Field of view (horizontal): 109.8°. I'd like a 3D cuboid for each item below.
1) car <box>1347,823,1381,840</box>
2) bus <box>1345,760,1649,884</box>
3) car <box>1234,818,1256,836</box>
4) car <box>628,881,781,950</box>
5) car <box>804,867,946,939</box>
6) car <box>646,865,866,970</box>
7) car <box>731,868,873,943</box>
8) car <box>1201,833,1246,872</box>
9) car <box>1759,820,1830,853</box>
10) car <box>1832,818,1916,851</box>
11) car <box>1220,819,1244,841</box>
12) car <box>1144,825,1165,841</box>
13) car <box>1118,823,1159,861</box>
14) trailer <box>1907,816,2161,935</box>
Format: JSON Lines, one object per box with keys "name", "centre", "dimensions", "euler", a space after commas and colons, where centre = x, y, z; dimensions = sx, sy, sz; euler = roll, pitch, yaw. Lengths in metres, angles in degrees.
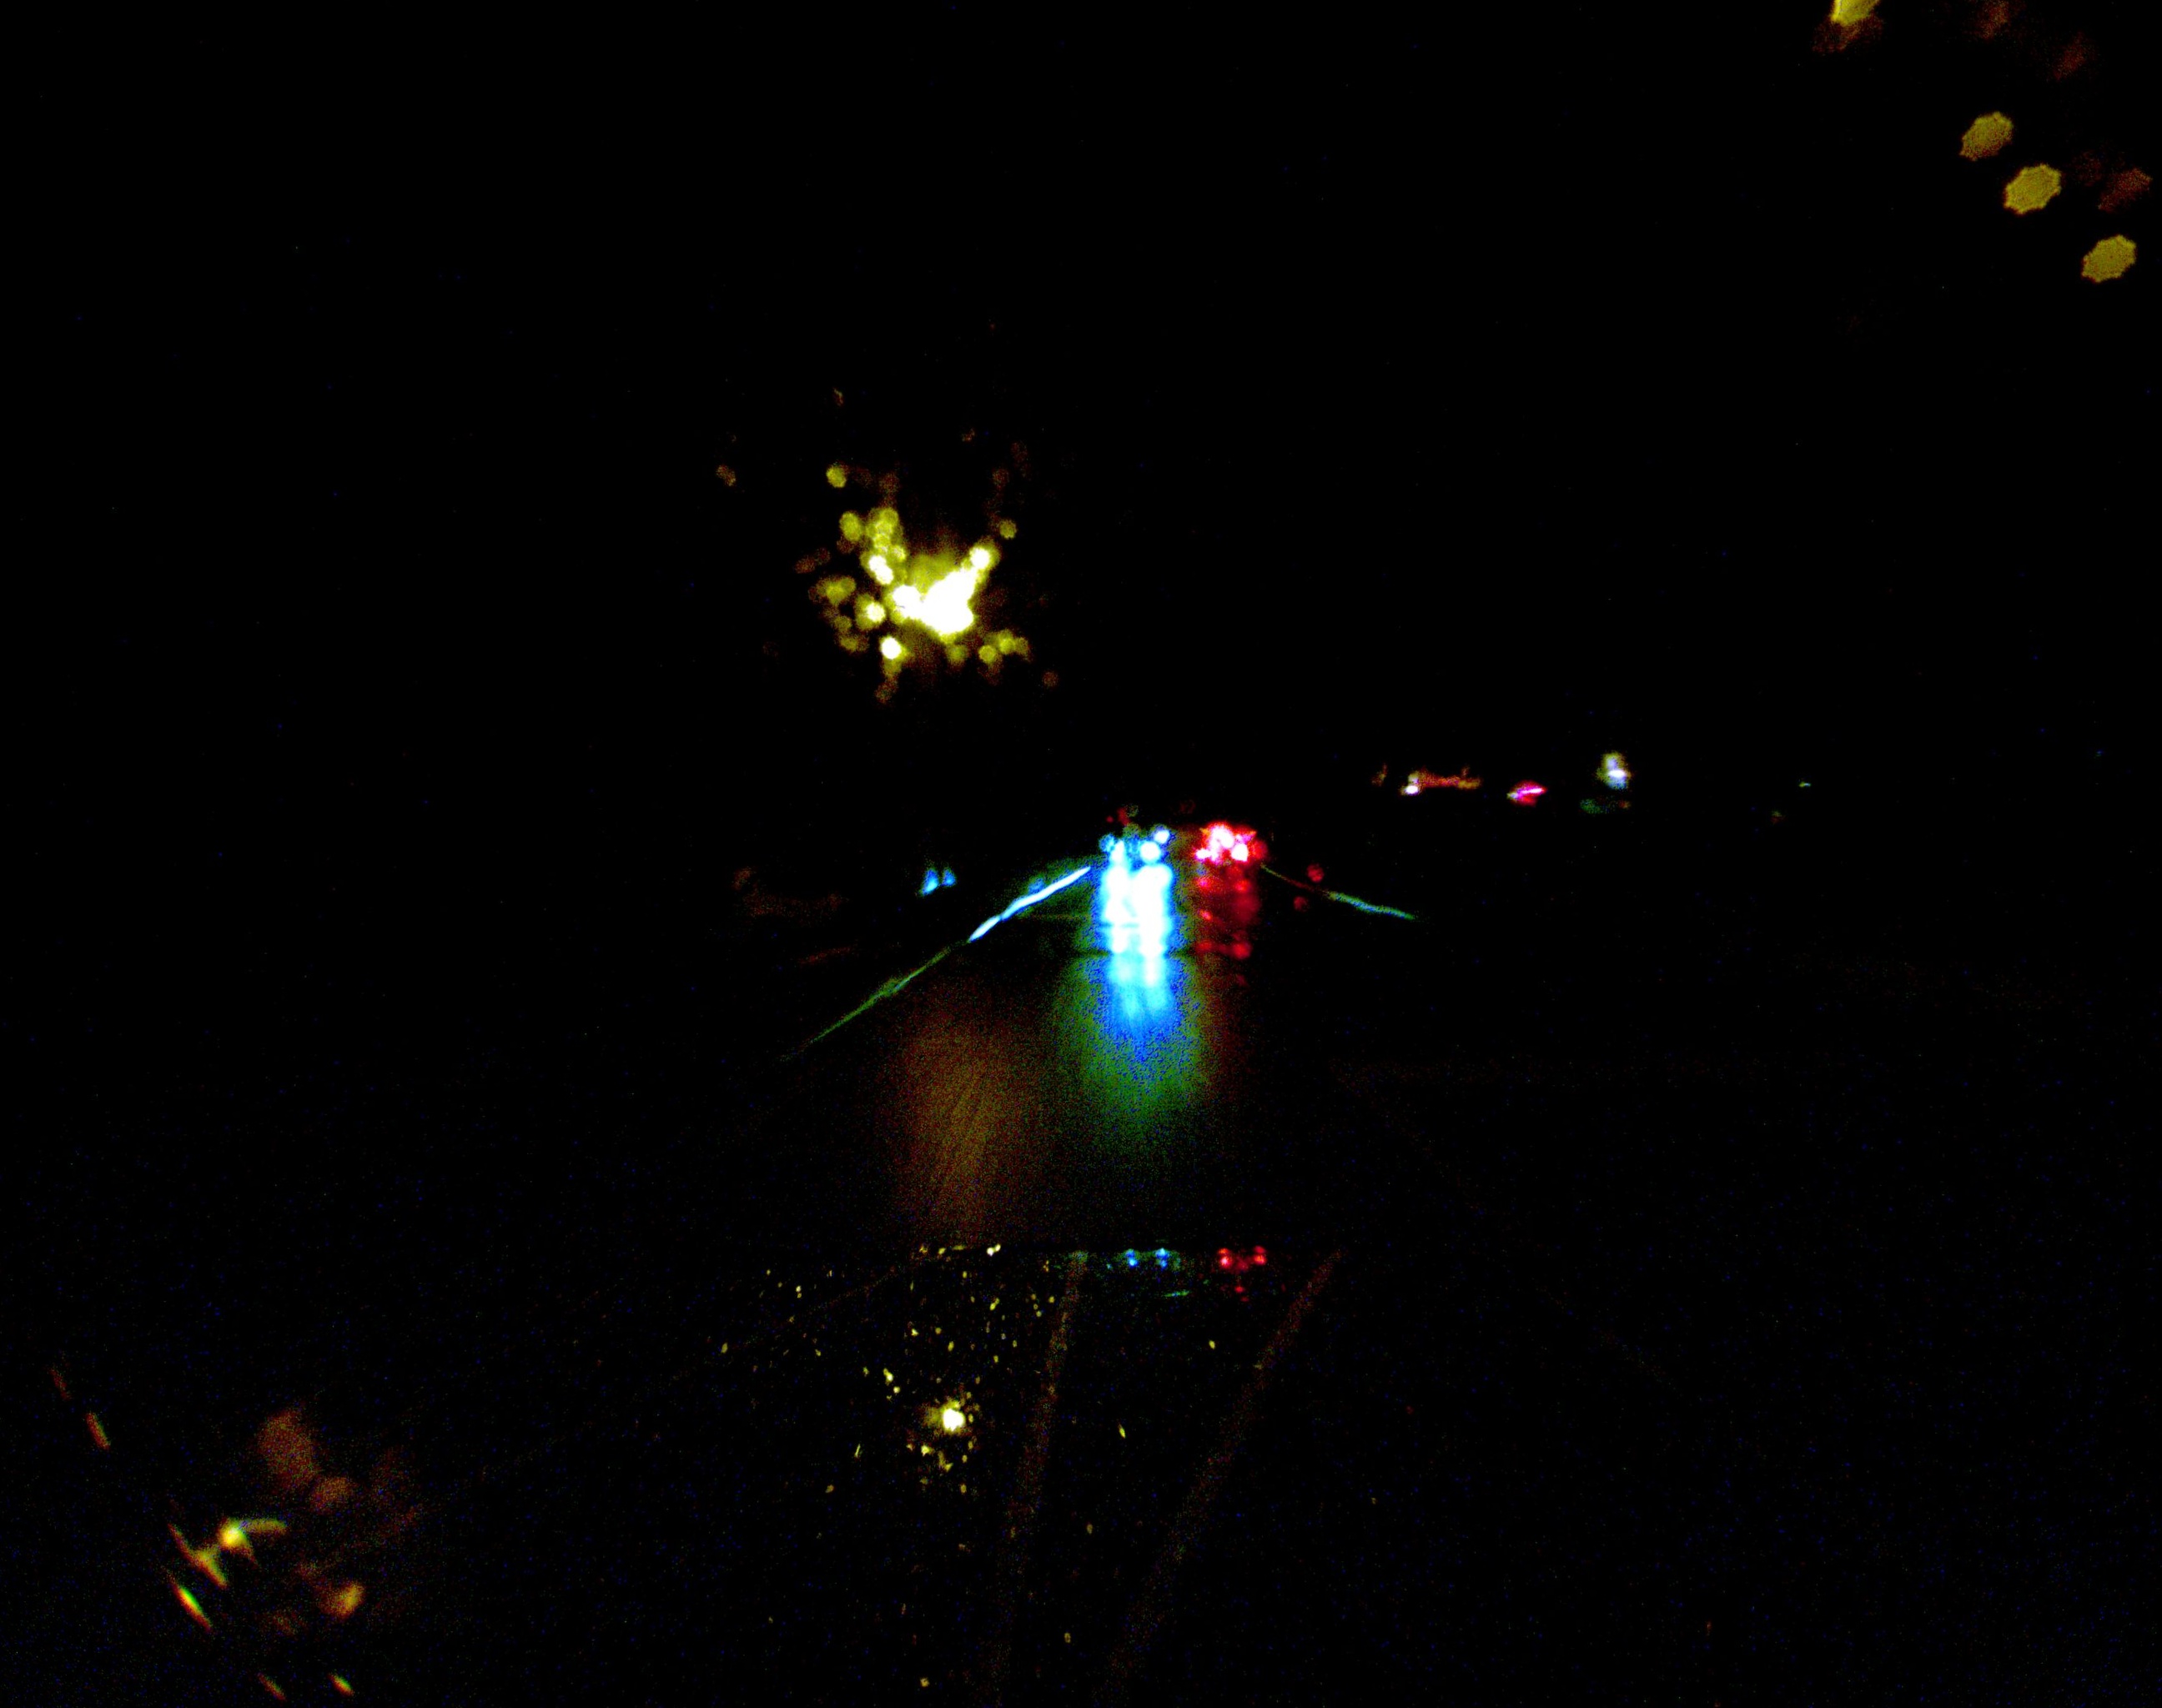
{"name": "car", "centre": [23.569, -1.898, 63.166], "dimensions": [1.689, 1.390, 4.157], "euler": [2, 3, 34]}
{"name": "bus", "centre": [15.566, -1.125, 30.605], "dimensions": [2.903, 3.847, 13.043], "euler": [-3, 1, -12]}
{"name": "car", "centre": [15.084, -2.489, 69.774], "dimensions": [1.714, 1.468, 3.872], "euler": [-3, 1, 16]}
{"name": "car", "centre": [-9.778, 1.535, 20.070], "dimensions": [1.637, 1.502, 3.679], "euler": [0, 0, 14]}
{"name": "car", "centre": [-4.665, 1.075, 17.775], "dimensions": [1.638, 1.390, 3.678], "euler": [-2, 0, 12]}
{"name": "car", "centre": [-5.538, 1.017, 13.532], "dimensions": [1.677, 1.557, 3.805], "euler": [-2, -1, 12]}
{"name": "car", "centre": [-6.851, 1.194, 19.041], "dimensions": [1.637, 1.610, 3.539], "euler": [0, 0, 14]}
{"name": "car", "centre": [5.760, -0.116, 31.144], "dimensions": [1.638, 1.502, 4.118], "euler": [0, 2, 8]}
{"name": "car", "centre": [35.384, -0.912, 37.808], "dimensions": [1.855, 1.391, 4.045], "euler": [2, 5, 33]}
{"name": "car", "centre": [37.575, -0.974, 36.118], "dimensions": [1.855, 1.391, 4.045], "euler": [2, 5, 33]}
{"name": "car", "centre": [11.722, -1.830, 58.842], "dimensions": [1.698, 1.590, 3.803], "euler": [-2, 1, 13]}
{"name": "car", "centre": [6.501, -1.891, 67.102], "dimensions": [1.589, 1.286, 3.369], "euler": [-3, 3, 9]}
{"name": "car", "centre": [3.068, -0.674, 39.660], "dimensions": [1.958, 1.712, 3.999], "euler": [-2, 3, 6]}
{"name": "trailer", "centre": [15.981, 0.311, 11.766], "dimensions": [1.817, 1.667, 4.099], "euler": [0, 0, -3]}
